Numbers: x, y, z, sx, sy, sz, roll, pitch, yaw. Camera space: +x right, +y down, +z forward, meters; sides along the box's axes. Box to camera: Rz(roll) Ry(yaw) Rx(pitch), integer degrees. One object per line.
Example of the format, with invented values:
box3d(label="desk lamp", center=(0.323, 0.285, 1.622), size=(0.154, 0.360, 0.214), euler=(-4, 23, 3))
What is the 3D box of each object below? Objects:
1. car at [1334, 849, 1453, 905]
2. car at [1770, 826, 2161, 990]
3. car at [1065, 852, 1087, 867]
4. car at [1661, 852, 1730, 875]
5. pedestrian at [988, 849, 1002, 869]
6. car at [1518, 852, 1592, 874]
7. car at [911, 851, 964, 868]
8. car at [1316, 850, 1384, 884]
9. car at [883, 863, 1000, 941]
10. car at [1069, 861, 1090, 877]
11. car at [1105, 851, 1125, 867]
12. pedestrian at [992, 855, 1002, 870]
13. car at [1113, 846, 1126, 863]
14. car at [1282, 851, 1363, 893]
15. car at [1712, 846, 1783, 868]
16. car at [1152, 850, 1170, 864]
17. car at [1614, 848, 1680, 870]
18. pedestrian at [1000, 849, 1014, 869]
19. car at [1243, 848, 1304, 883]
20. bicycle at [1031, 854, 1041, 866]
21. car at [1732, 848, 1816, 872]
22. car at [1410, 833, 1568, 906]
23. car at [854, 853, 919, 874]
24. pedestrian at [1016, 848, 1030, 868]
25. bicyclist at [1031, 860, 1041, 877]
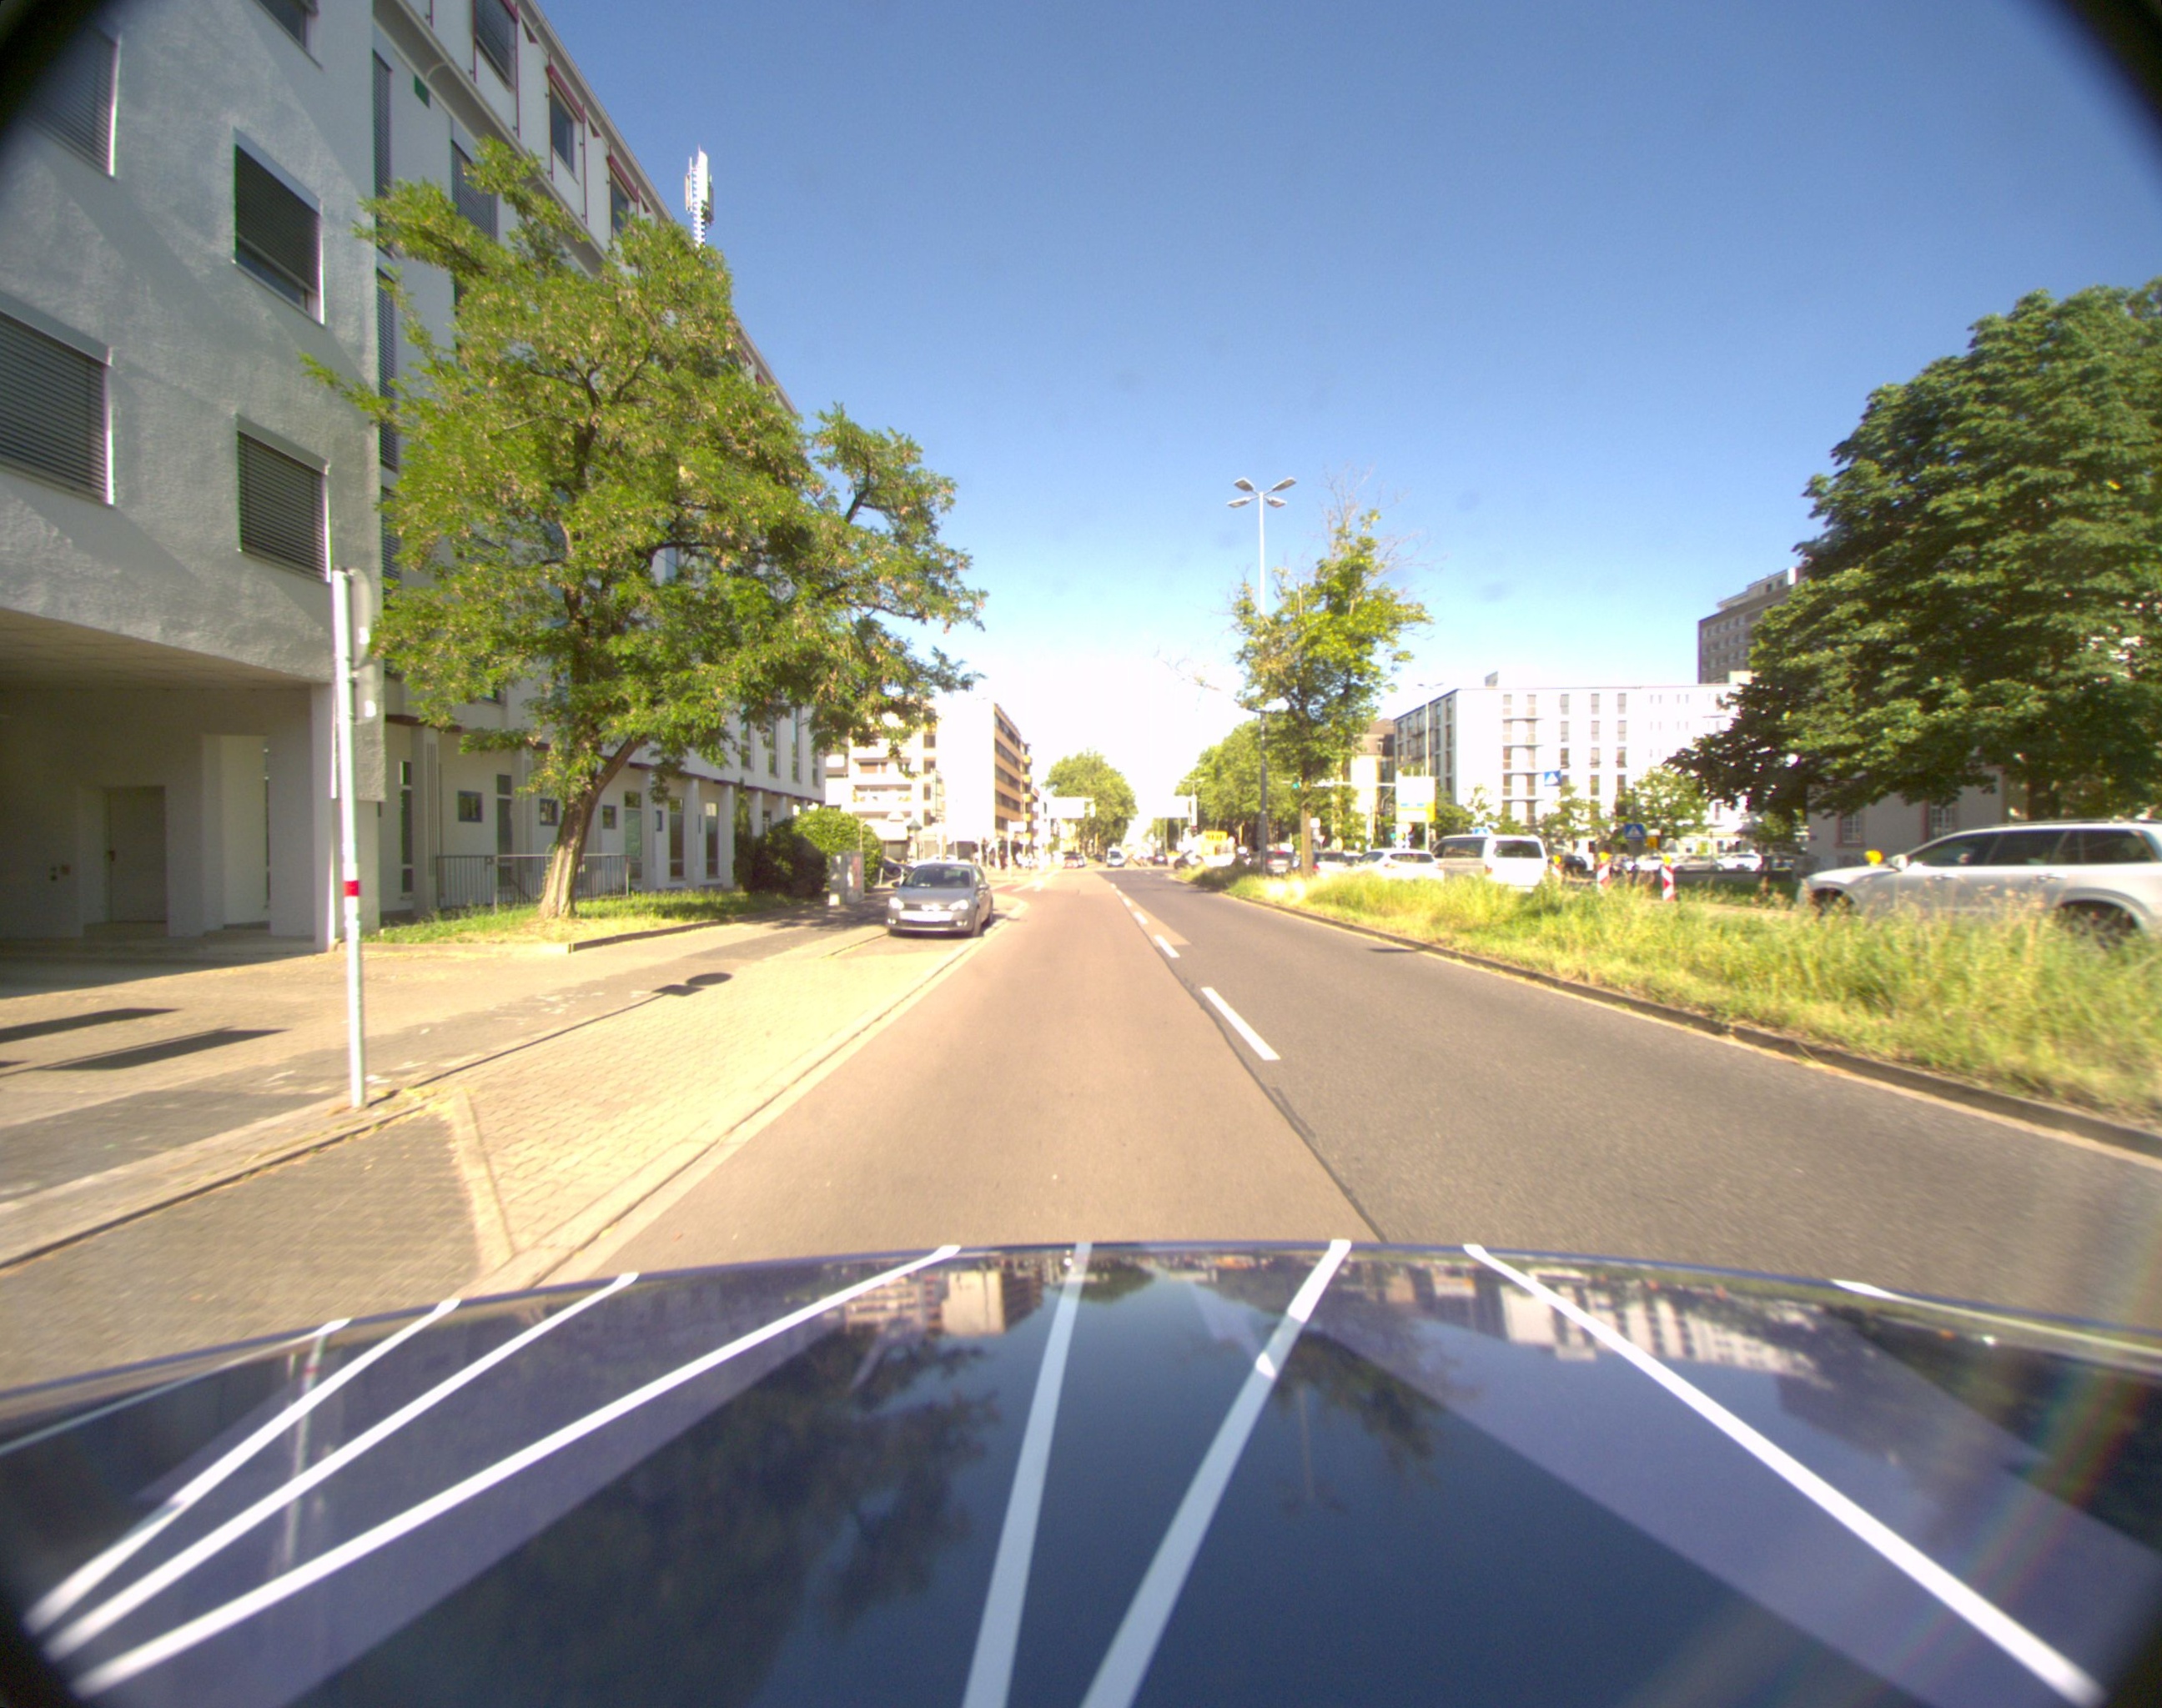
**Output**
box3d(label="car", center=(9.141, 0.613, 22.635), size=(1.800, 1.510, 4.205), euler=(-1, 0, 0))
box3d(label="car", center=(12.326, 0.555, 10.083), size=(1.800, 1.733, 5.031), euler=(-1, 0, 0))
box3d(label="car", center=(-0.550, 0.567, 83.991), size=(1.882, 1.510, 4.002), euler=(-1, 1, 8))
box3d(label="car", center=(48.492, 0.762, 60.006), size=(3.995, 1.609, 1.562), euler=(-1, 3, 6))
box3d(label="pedestrian", center=(-7.353, 0.426, 65.049), size=(0.798, 1.635, 0.982), euler=(-4, 4, -33))
box3d(label="car", center=(38.318, 0.697, 61.548), size=(4.704, 1.609, 1.919), euler=(-1, 3, 10))
box3d(label="car", center=(-13.667, 0.522, 72.403), size=(4.557, 1.510, 1.880), euler=(-1, -1, -32))
box3d(label="car", center=(12.858, 0.578, 36.527), size=(1.800, 1.510, 4.079), euler=(-1, 0, 0))
box3d(label="car", center=(-2.821, 0.947, 16.196), size=(1.642, 1.439, 4.157), euler=(0, -1, 1))
box3d(label="car", center=(-0.123, 1.770, 89.390), size=(1.882, 1.511, 4.000), euler=(-1, 3, 8))
box3d(label="car", center=(3.911, 0.551, 85.734), size=(1.882, 1.511, 4.000), euler=(-1, 3, 8))
box3d(label="pedestrian", center=(-6.968, 0.670, 62.992), size=(0.647, 1.196, 0.526), euler=(-1, 4, 11))
box3d(label="car", center=(5.790, 0.112, 115.251), size=(1.883, 2.498, 4.451), euler=(-1, 0, 3))
box3d(label="car", center=(9.438, 0.660, 30.032), size=(1.800, 1.510, 4.363), euler=(-2, 0, 0))
box3d(label="car", center=(54.963, 0.246, 62.734), size=(3.995, 1.609, 1.919), euler=(-1, 3, 6))
box3d(label="car", center=(9.698, 0.350, 92.385), size=(1.861, 1.576, 4.278), euler=(-1, 0, 2))
box3d(label="car", center=(47.098, 0.434, 63.300), size=(3.995, 1.609, 1.919), euler=(-1, 3, 6))
box3d(label="pedestrian", center=(-6.112, 0.442, 62.919), size=(0.897, 1.614, 0.721), euler=(-1, 4, 11))
box3d(label="car", center=(9.146, 0.487, 36.491), size=(1.800, 1.510, 4.346), euler=(-2, 1, 0))
box3d(label="bicycle", center=(-4.220, 0.536, 70.861), size=(0.867, 0.985, 1.900), euler=(-2, 3, -6))
box3d(label="car", center=(54.398, 0.452, 59.696), size=(4.707, 1.609, 1.918), euler=(-1, 3, 3))
box3d(label="car", center=(12.524, 0.433, 23.801), size=(2.239, 2.016, 5.017), euler=(-1, 0, 0))
box3d(label="car", center=(-13.973, 0.666, 54.673), size=(4.052, 1.400, 1.885), euler=(-1, 1, 7))
box3d(label="pedestrian", center=(-4.979, 0.338, 64.689), size=(0.788, 1.599, 0.927), euler=(-4, 4, -33))
box3d(label="bicyclist", center=(-4.195, 1.342, 70.808), size=(0.870, 1.525, 0.852), euler=(-1, 2, -7))
